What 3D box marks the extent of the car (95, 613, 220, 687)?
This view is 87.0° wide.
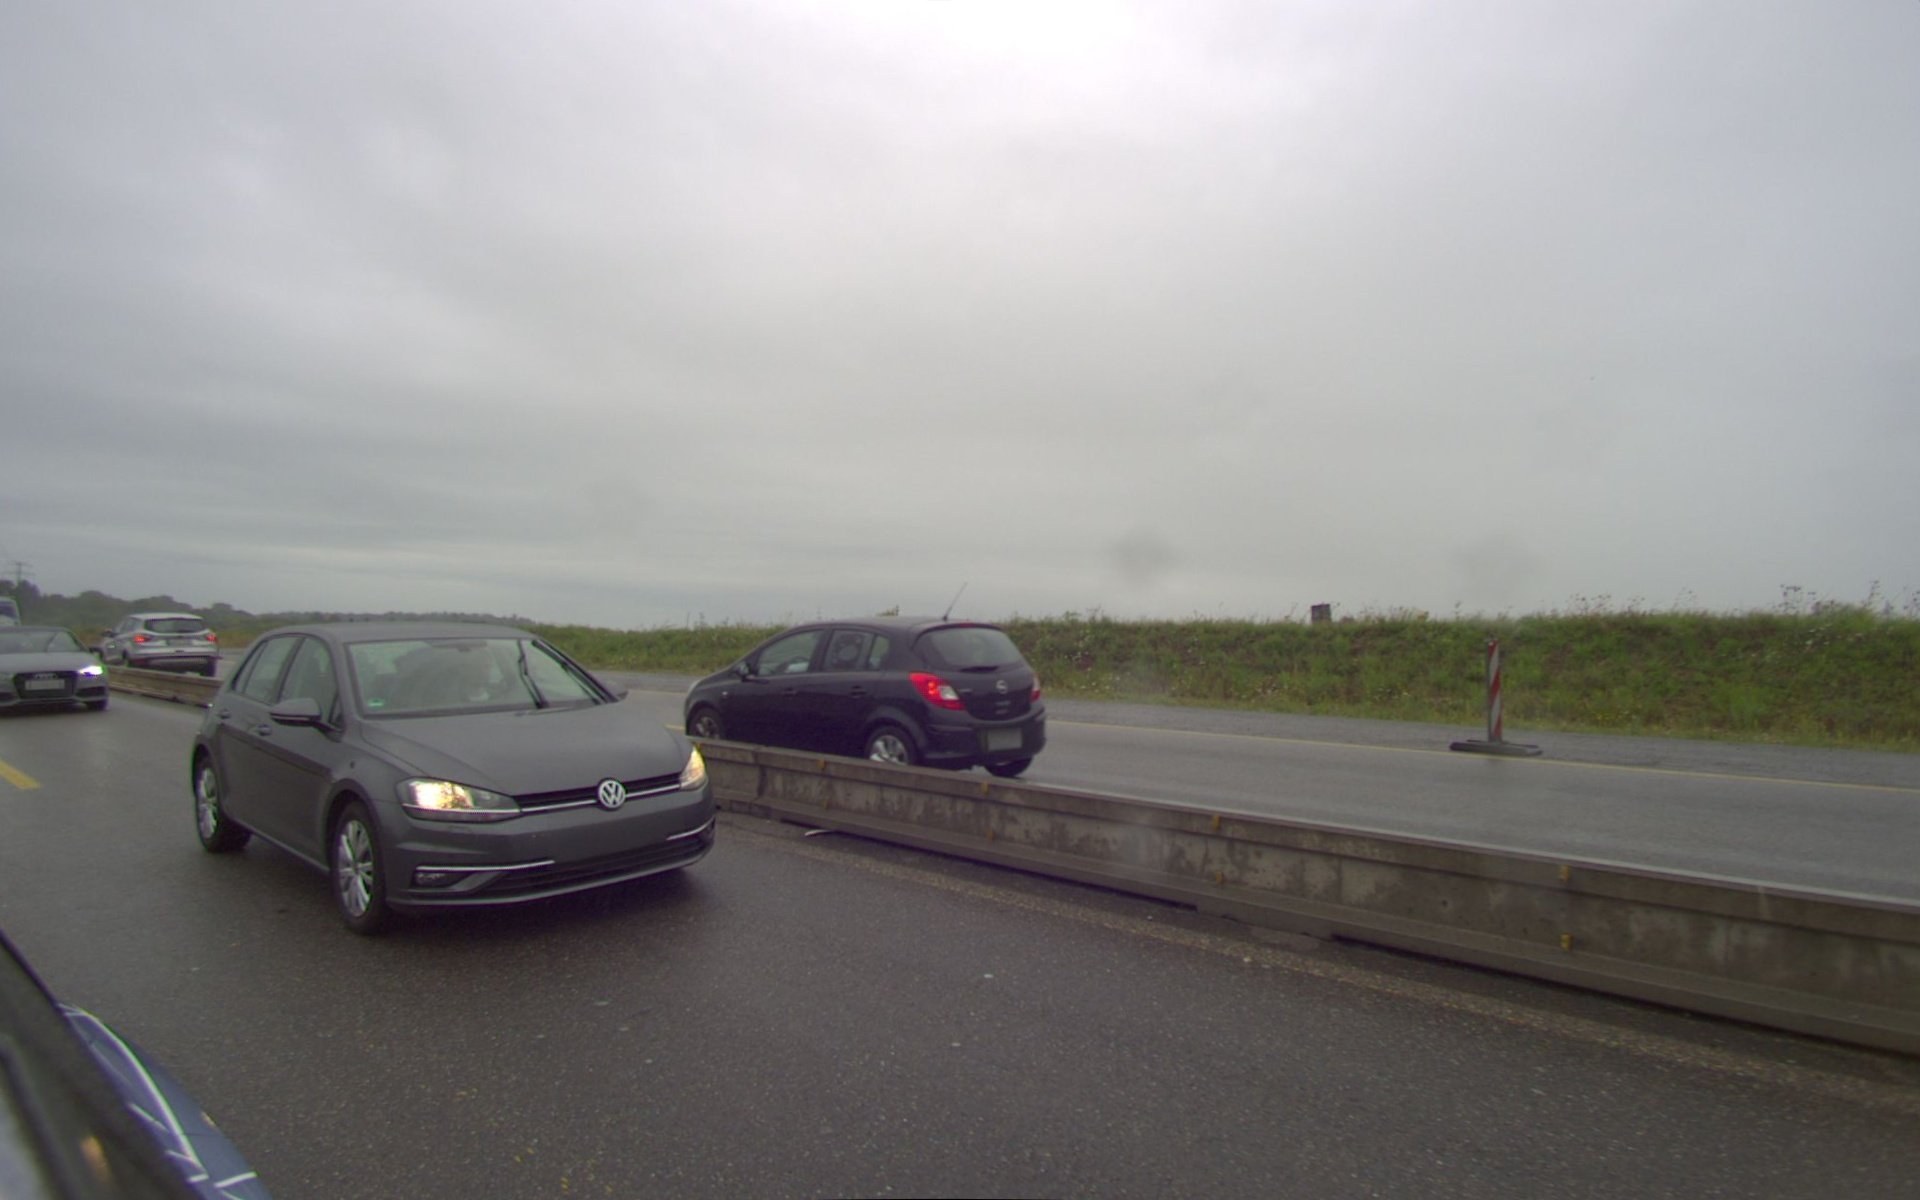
[{"bbox_3d":[-20.765,1.234,26.136,4.285,1.736,1.772,-1,0,41],"label":"car"}]

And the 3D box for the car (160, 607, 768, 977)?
[{"bbox_3d":[-3.082,0.765,5.887,4.076,1.433,1.633,0,0,39],"label":"car"}]

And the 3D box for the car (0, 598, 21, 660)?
[{"bbox_3d":[-42.609,1.281,43.932,5.953,2.568,2.003,-2,-2,40],"label":"car"}]

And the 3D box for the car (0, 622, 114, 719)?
[{"bbox_3d":[-15.953,1.115,17.152,4.266,1.407,1.777,0,0,40],"label":"car"}]

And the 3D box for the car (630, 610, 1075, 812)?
[{"bbox_3d":[-1.204,0.844,9.578,4.460,1.454,1.593,0,0,41],"label":"car"}]
